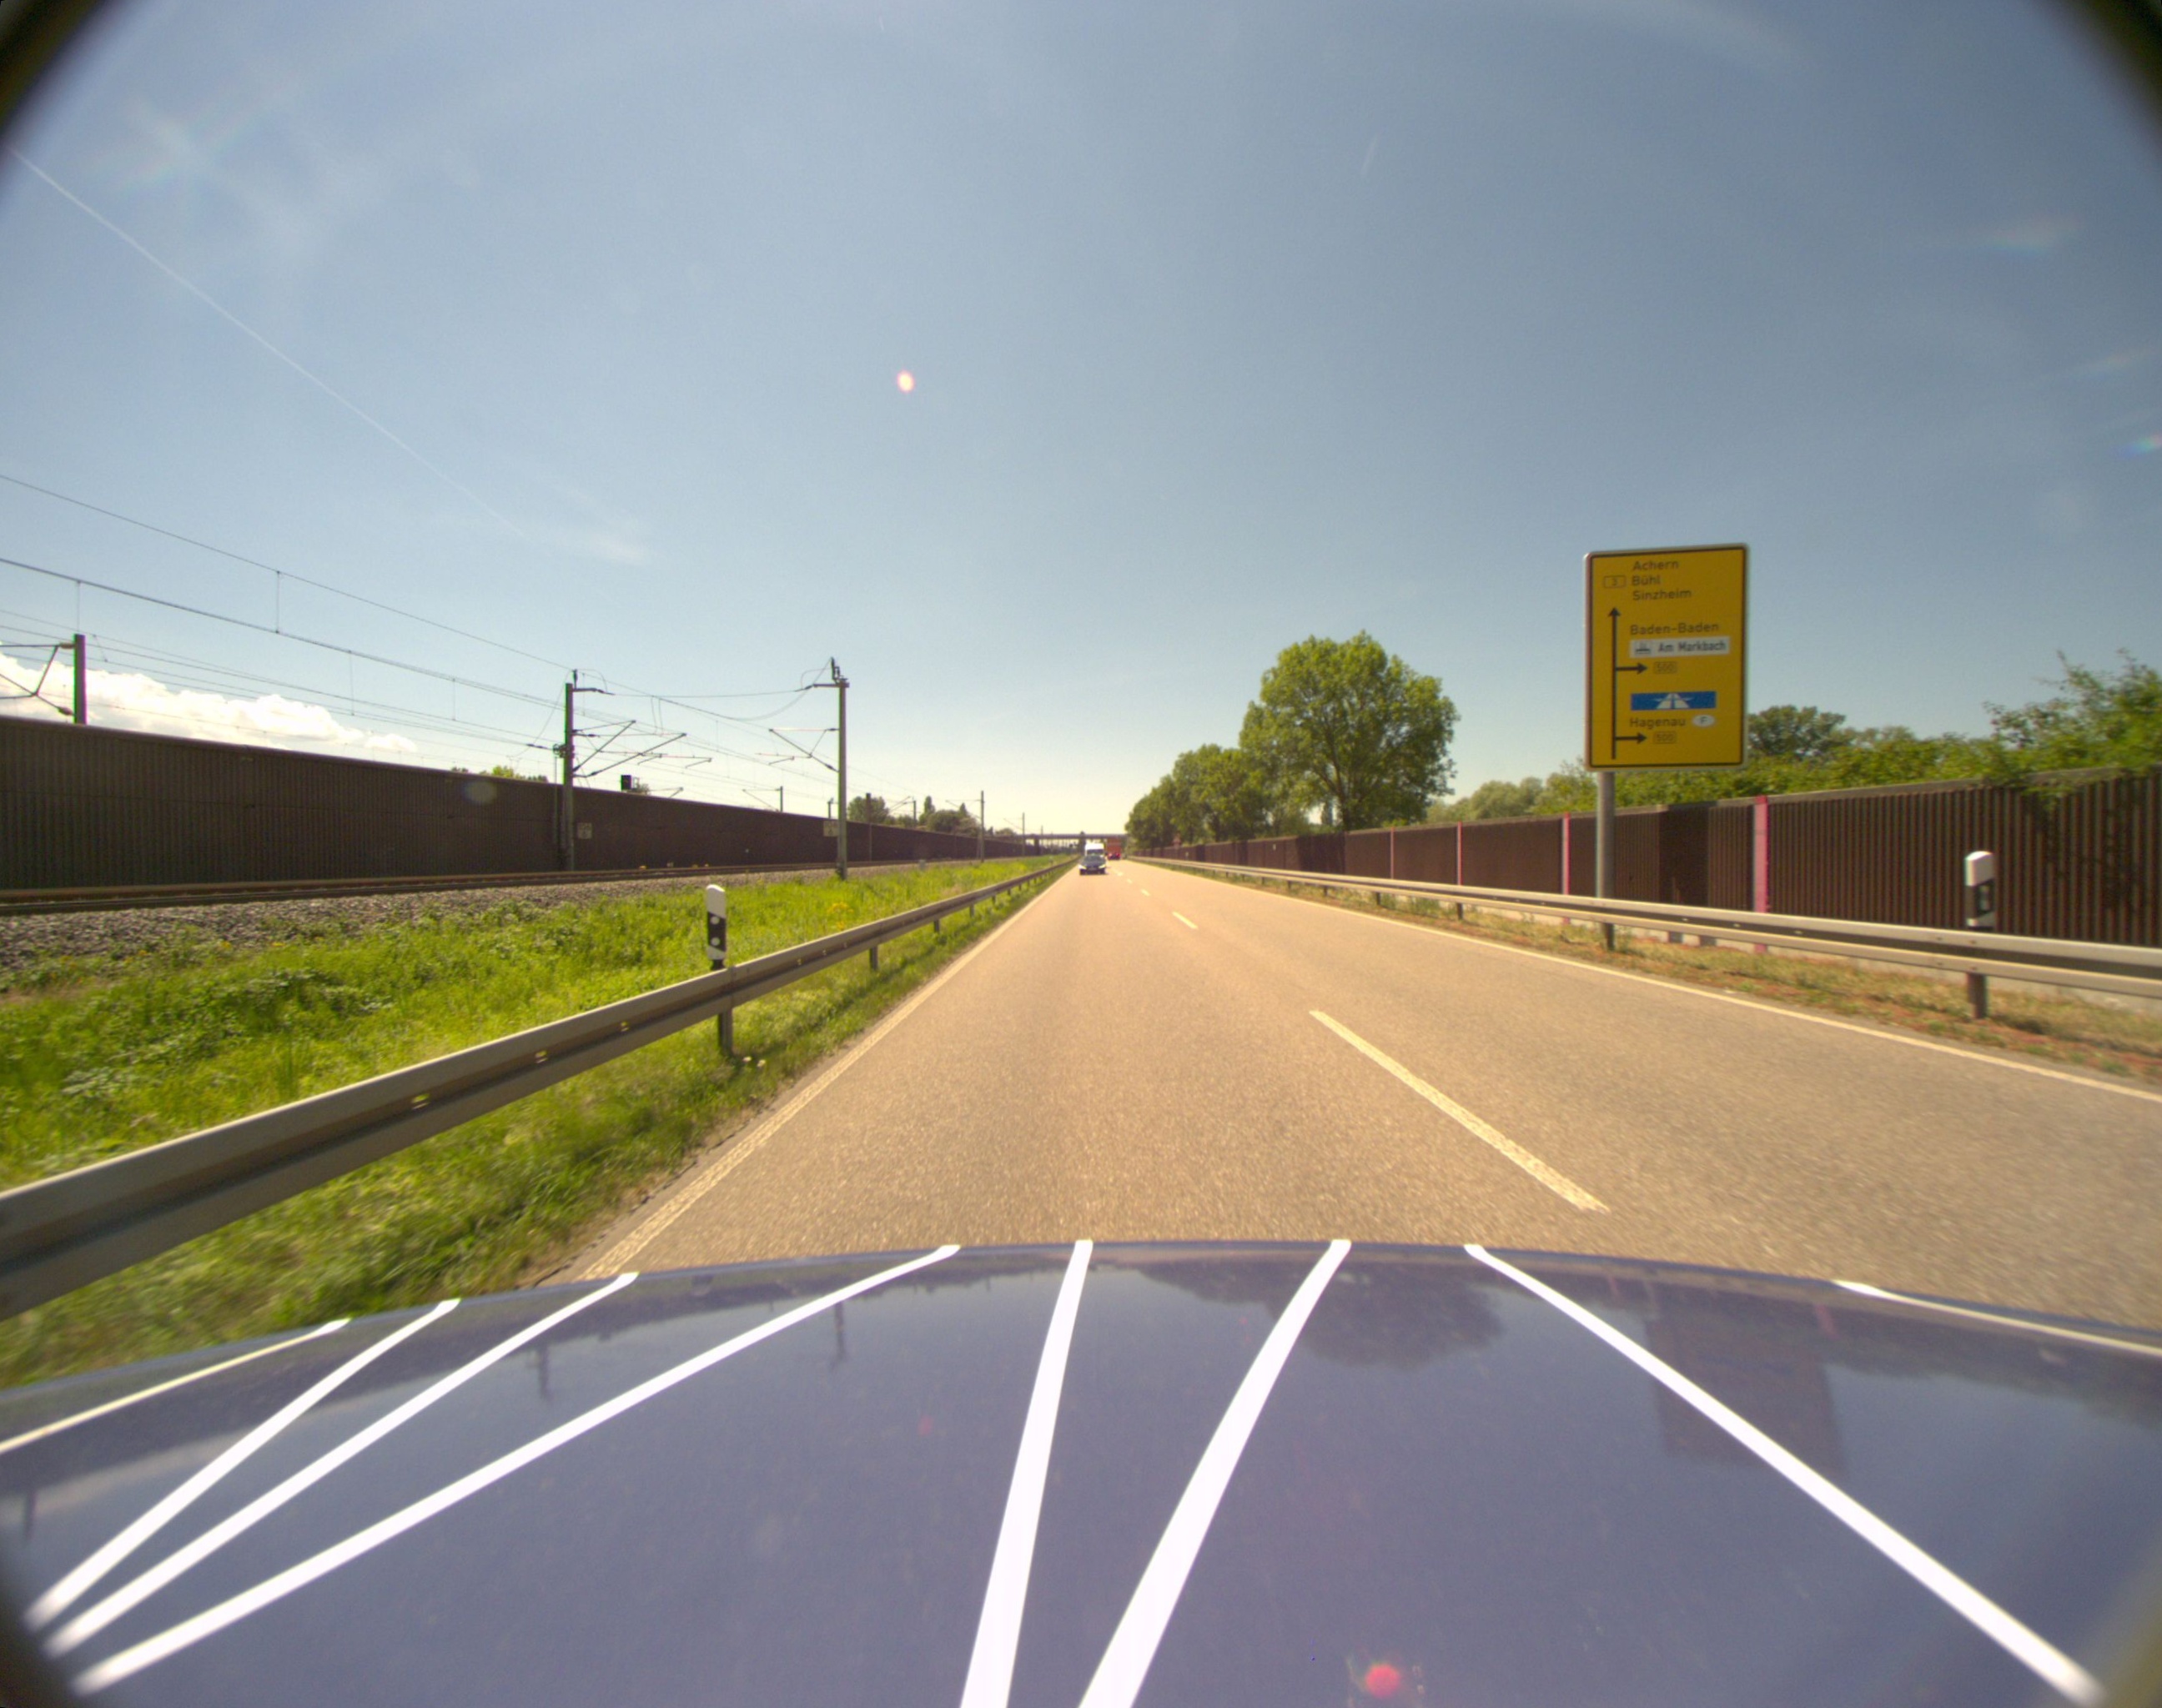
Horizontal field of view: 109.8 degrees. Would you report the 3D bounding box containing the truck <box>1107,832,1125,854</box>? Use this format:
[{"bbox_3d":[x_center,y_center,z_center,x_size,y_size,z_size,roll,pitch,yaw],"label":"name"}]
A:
[{"bbox_3d":[6.651,-2.087,146.104,3.132,3.942,9.718,-3,0,1],"label":"truck"}]

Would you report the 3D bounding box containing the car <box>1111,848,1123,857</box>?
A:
[{"bbox_3d":[6.297,-0.245,134.274,1.994,1.486,4.492,-3,0,1],"label":"car"}]

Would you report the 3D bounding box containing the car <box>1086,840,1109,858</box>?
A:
[{"bbox_3d":[1.678,-0.503,76.847,2.161,1.702,4.492,-3,0,1],"label":"car"}]

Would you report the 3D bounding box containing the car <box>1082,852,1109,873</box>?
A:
[{"bbox_3d":[0.994,0.592,52.996,1.758,1.313,4.000,-3,0,1],"label":"car"}]
